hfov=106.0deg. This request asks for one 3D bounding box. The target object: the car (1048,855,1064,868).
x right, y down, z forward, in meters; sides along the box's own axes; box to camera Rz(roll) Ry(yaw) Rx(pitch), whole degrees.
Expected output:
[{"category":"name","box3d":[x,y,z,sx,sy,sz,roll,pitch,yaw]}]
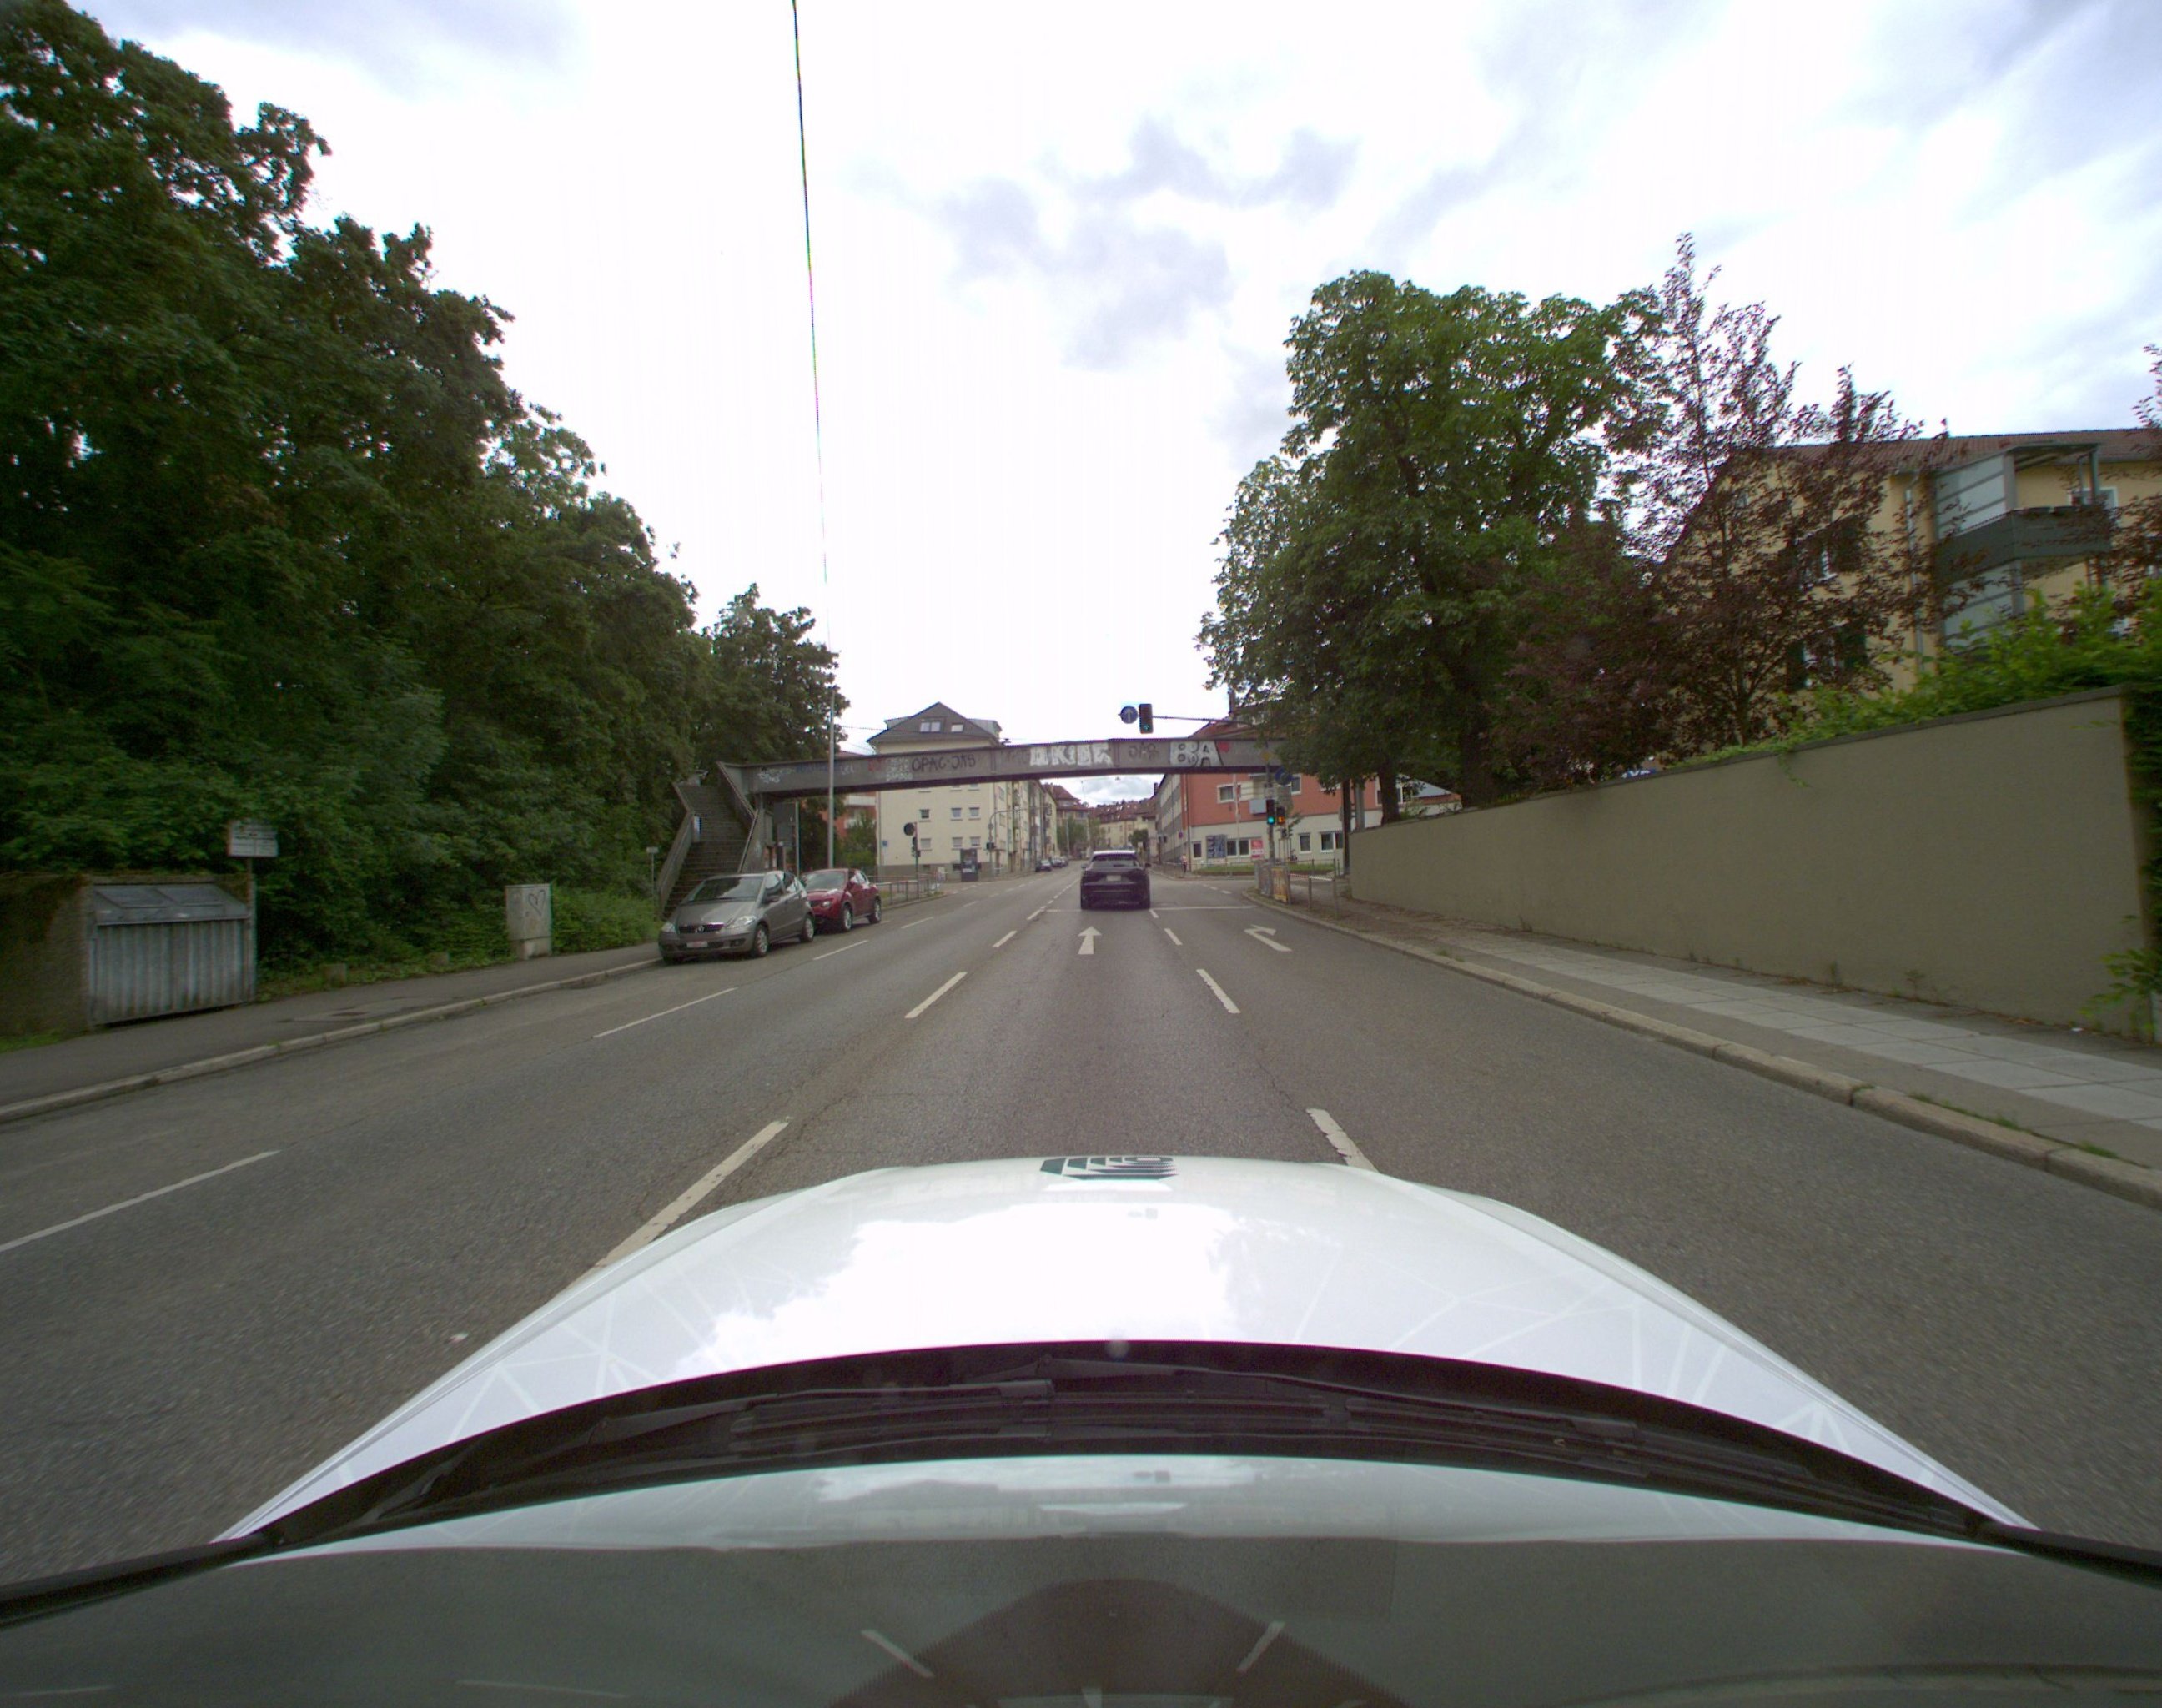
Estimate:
[{"category":"car","box3d":[-3.337,0.938,110.169,1.758,1.650,4.002,-2,0,2]}]

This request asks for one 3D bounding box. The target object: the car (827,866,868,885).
[{"category":"car","box3d":[-19.902,1.802,69.401,1.817,1.510,3.952,-2,0,-42]}]

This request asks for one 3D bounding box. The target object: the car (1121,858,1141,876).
[{"category":"car","box3d":[4.503,1.146,73.571,1.734,1.400,4.002,-2,1,2]}]

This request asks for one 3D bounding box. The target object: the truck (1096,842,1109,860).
[{"category":"truck","box3d":[4.240,-0.586,160.446,2.258,3.424,9.881,-2,0,2]}]

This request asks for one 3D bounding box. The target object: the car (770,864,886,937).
[{"category":"car","box3d":[-6.296,1.088,20.738,1.528,1.540,3.983,-4,0,2]}]

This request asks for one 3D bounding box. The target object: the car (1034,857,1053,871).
[{"category":"car","box3d":[-4.330,1.120,93.566,1.758,1.508,4.002,-2,0,2]}]

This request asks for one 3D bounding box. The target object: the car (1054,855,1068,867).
[{"category":"car","box3d":[-2.880,0.957,119.105,1.758,1.650,4.002,-2,0,2]}]

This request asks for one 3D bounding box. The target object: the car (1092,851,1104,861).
[{"category":"car","box3d":[2.803,0.278,134.843,1.758,1.508,4.002,-2,0,2]}]

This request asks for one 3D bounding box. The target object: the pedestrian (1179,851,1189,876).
[{"category":"pedestrian","box3d":[7.535,0.679,59.592,0.651,1.792,0.714,-2,0,-1]}]

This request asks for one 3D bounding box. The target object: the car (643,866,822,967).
[{"category":"car","box3d":[-6.640,1.107,16.018,1.740,1.568,3.907,-4,0,0]}]

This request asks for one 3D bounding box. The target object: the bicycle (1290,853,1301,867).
[{"category":"bicycle","box3d":[13.957,0.398,52.991,0.337,0.903,1.754,-2,0,25]}]

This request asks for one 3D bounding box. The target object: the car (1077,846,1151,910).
[{"category":"car","box3d":[0.967,0.642,24.207,1.986,1.662,4.002,-2,1,2]}]
